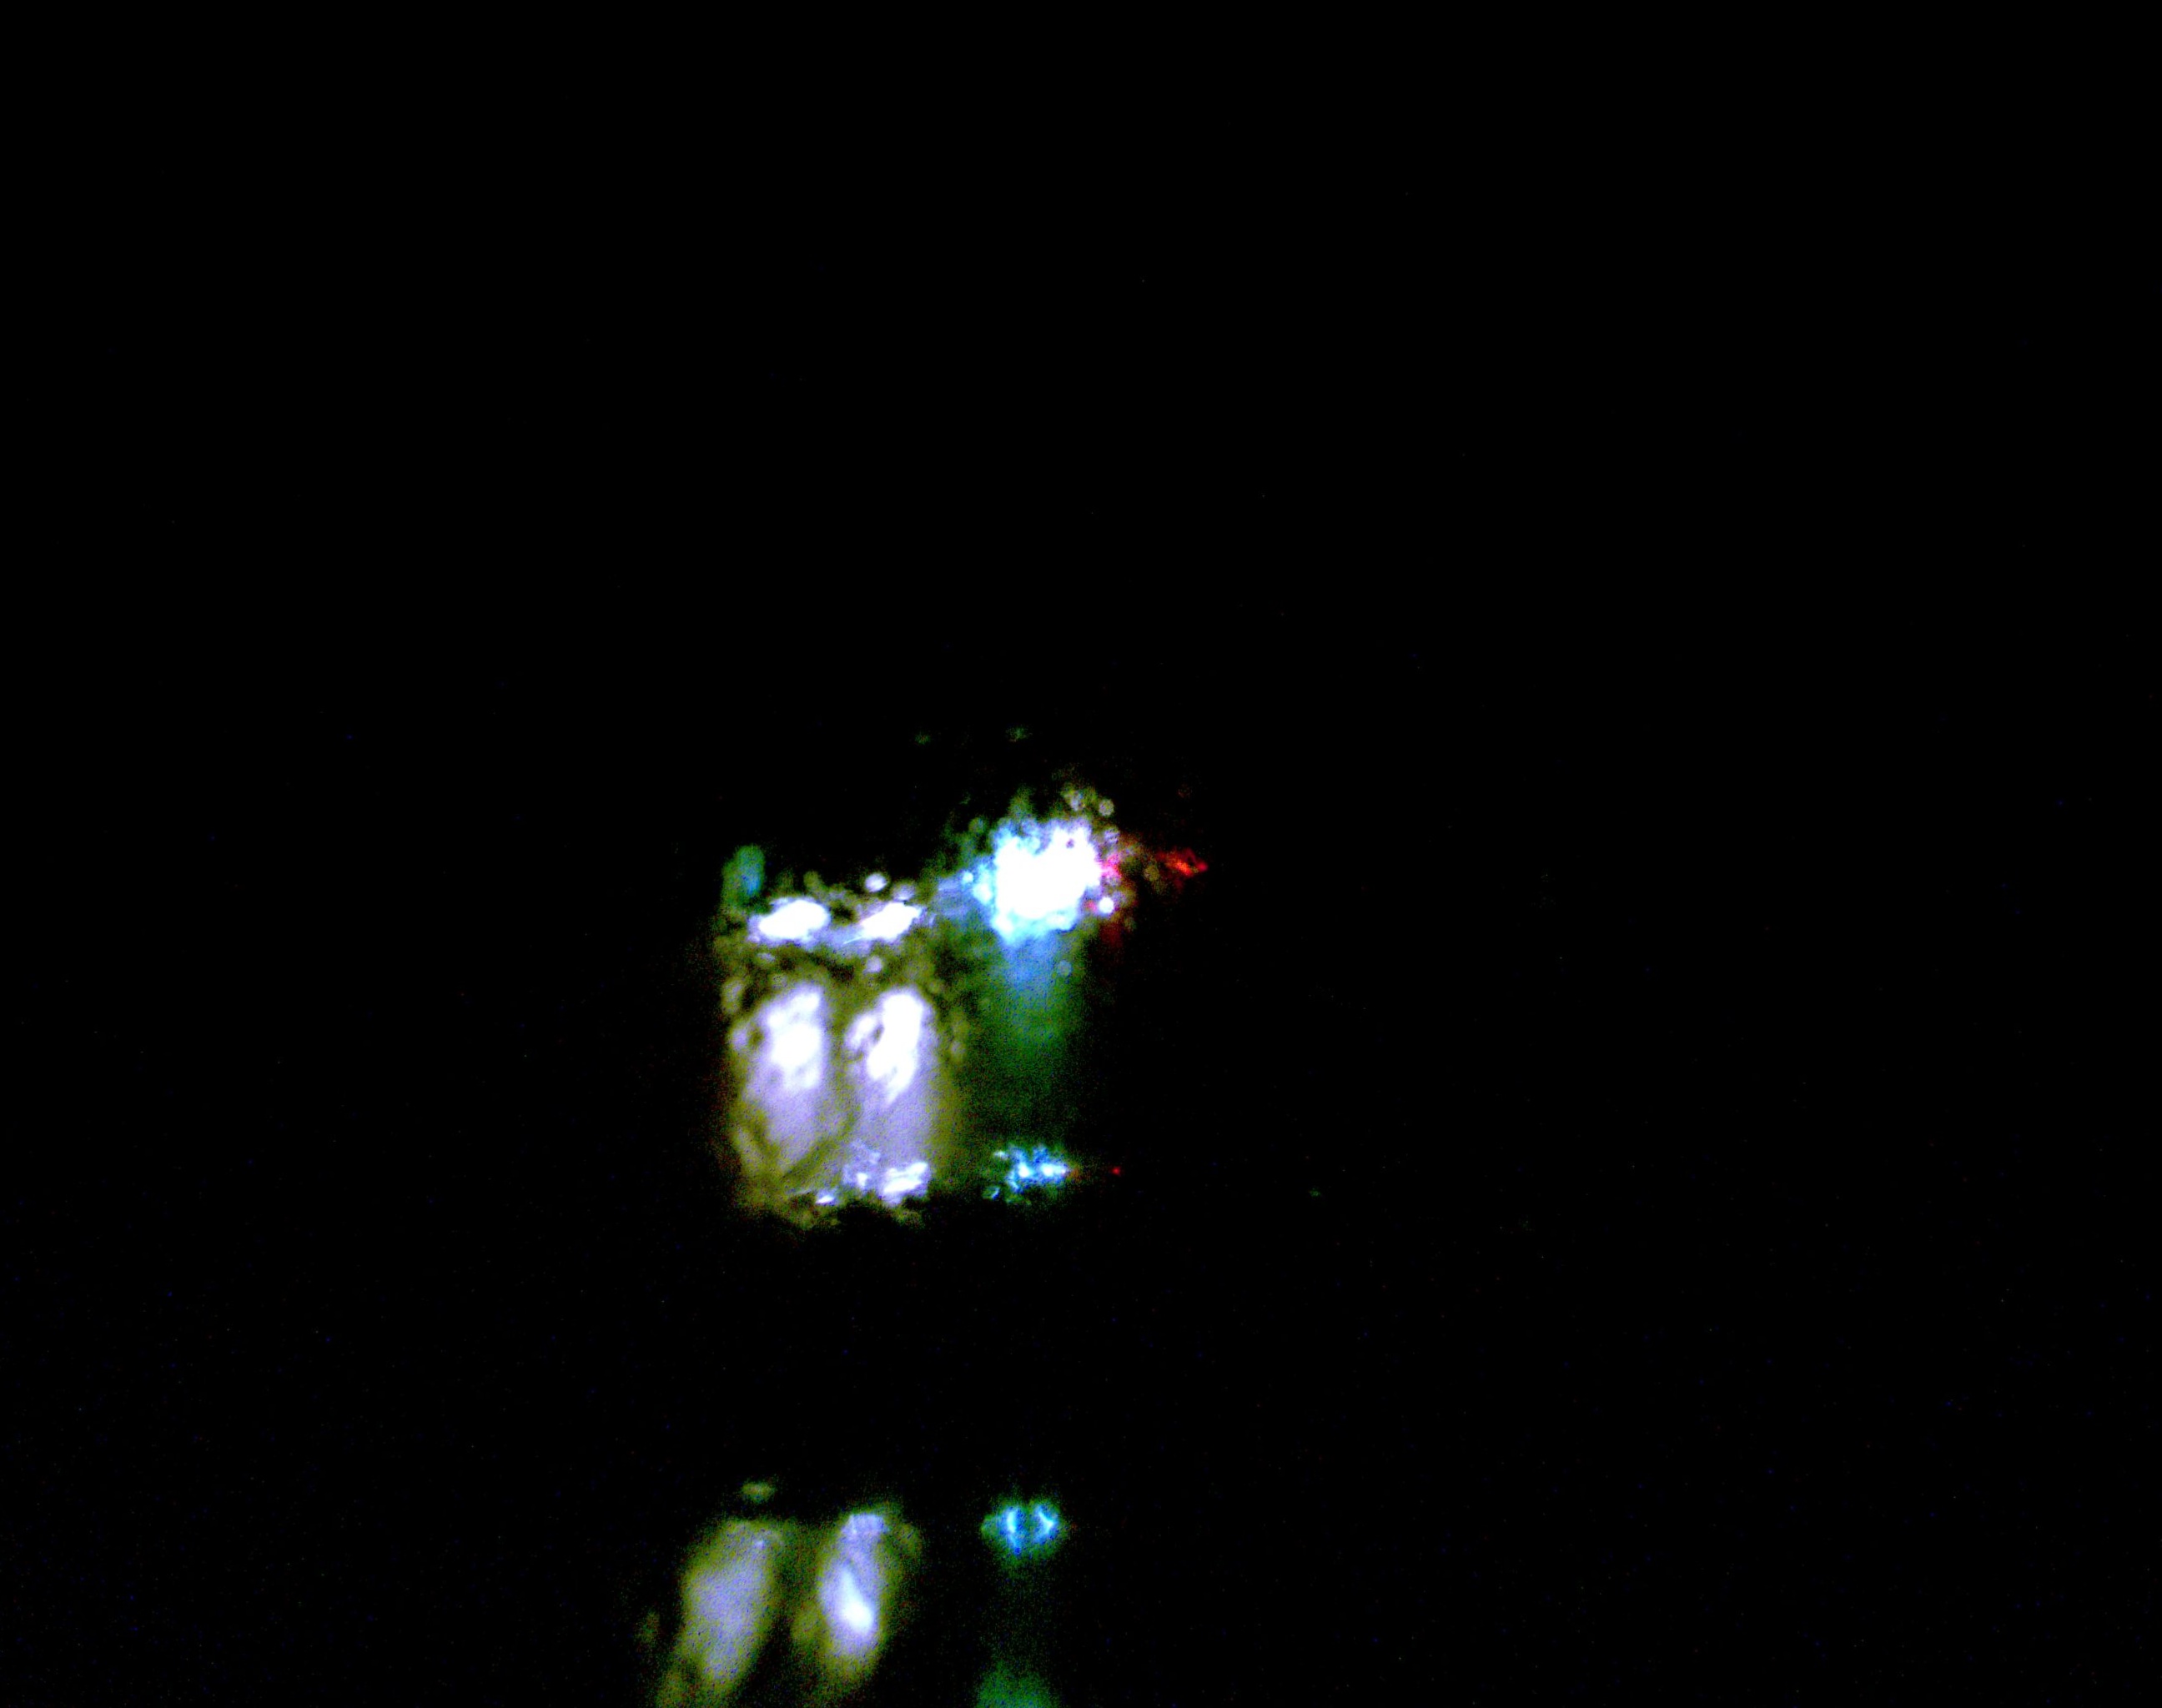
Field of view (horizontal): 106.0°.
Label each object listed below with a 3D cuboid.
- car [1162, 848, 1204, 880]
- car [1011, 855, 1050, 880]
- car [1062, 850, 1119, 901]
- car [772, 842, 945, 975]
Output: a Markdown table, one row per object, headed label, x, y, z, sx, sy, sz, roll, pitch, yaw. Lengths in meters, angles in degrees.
| label | x | y | z | sx | sy | sz | roll | pitch | yaw |
| --- | --- | --- | --- | --- | --- | --- | --- | --- | --- |
| car | 6.568 | 0.655 | 52.882 | 2.089 | 2.014 | 3.995 | 0 | 0 | -3 |
| car | -3.012 | 0.804 | 49.272 | 1.986 | 1.418 | 4.666 | 0 | 0 | 1 |
| car | 0.253 | 0.690 | 27.898 | 1.804 | 1.622 | 3.997 | 0 | 0 | -2 |
| car | -3.178 | 0.710 | 12.433 | 1.787 | 1.691 | 3.994 | 0 | 0 | -4 |
